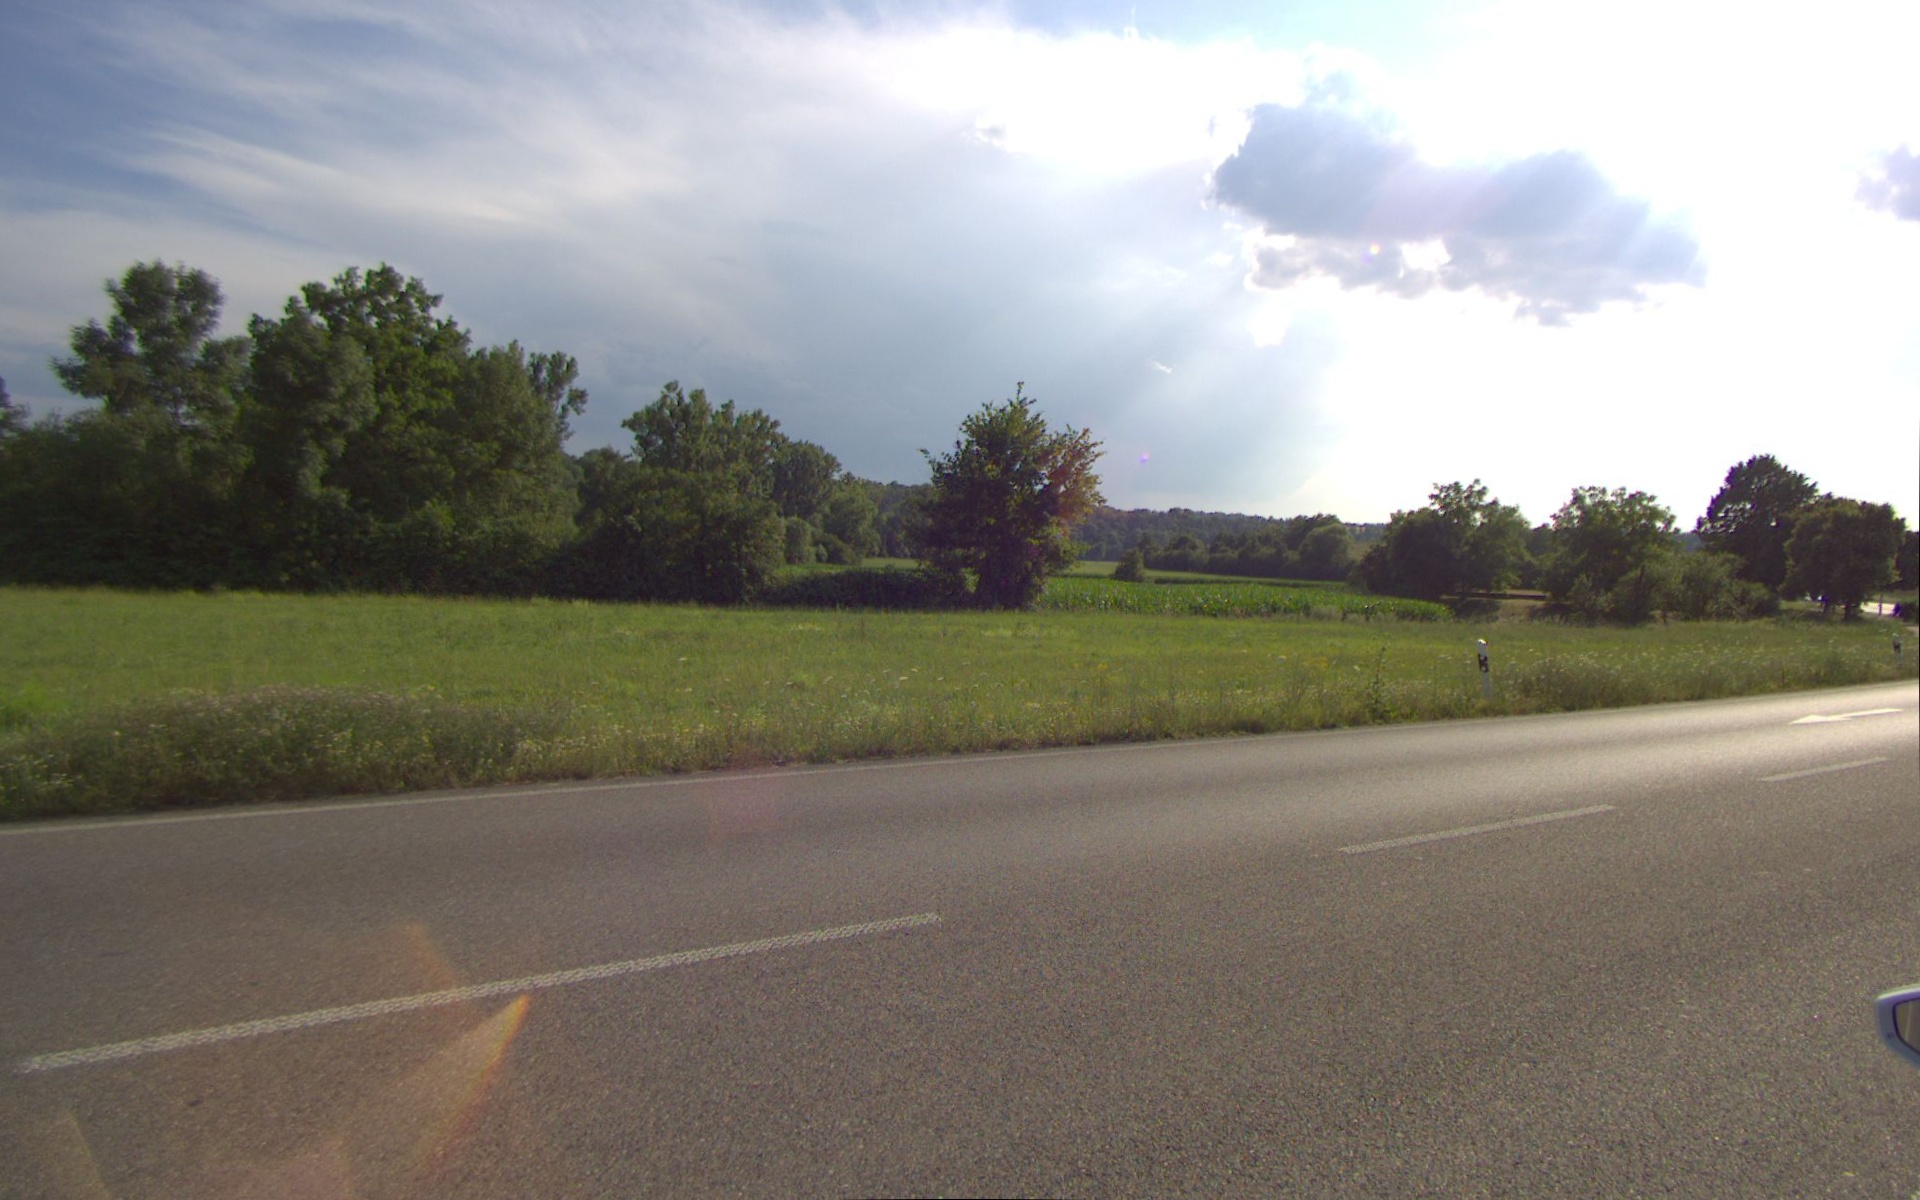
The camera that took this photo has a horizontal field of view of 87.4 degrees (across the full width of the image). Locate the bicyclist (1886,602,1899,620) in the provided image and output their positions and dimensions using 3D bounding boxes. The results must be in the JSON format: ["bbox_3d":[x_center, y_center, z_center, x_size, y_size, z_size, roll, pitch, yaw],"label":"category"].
[{"bbox_3d":[76.214,0.917,82.123,0.685,1.439,0.630,1,2,-38],"label":"bicyclist"}]

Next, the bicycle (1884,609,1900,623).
[{"bbox_3d":[76.271,1.293,82.197,1.656,1.089,0.630,1,2,-39],"label":"bicycle"}]
